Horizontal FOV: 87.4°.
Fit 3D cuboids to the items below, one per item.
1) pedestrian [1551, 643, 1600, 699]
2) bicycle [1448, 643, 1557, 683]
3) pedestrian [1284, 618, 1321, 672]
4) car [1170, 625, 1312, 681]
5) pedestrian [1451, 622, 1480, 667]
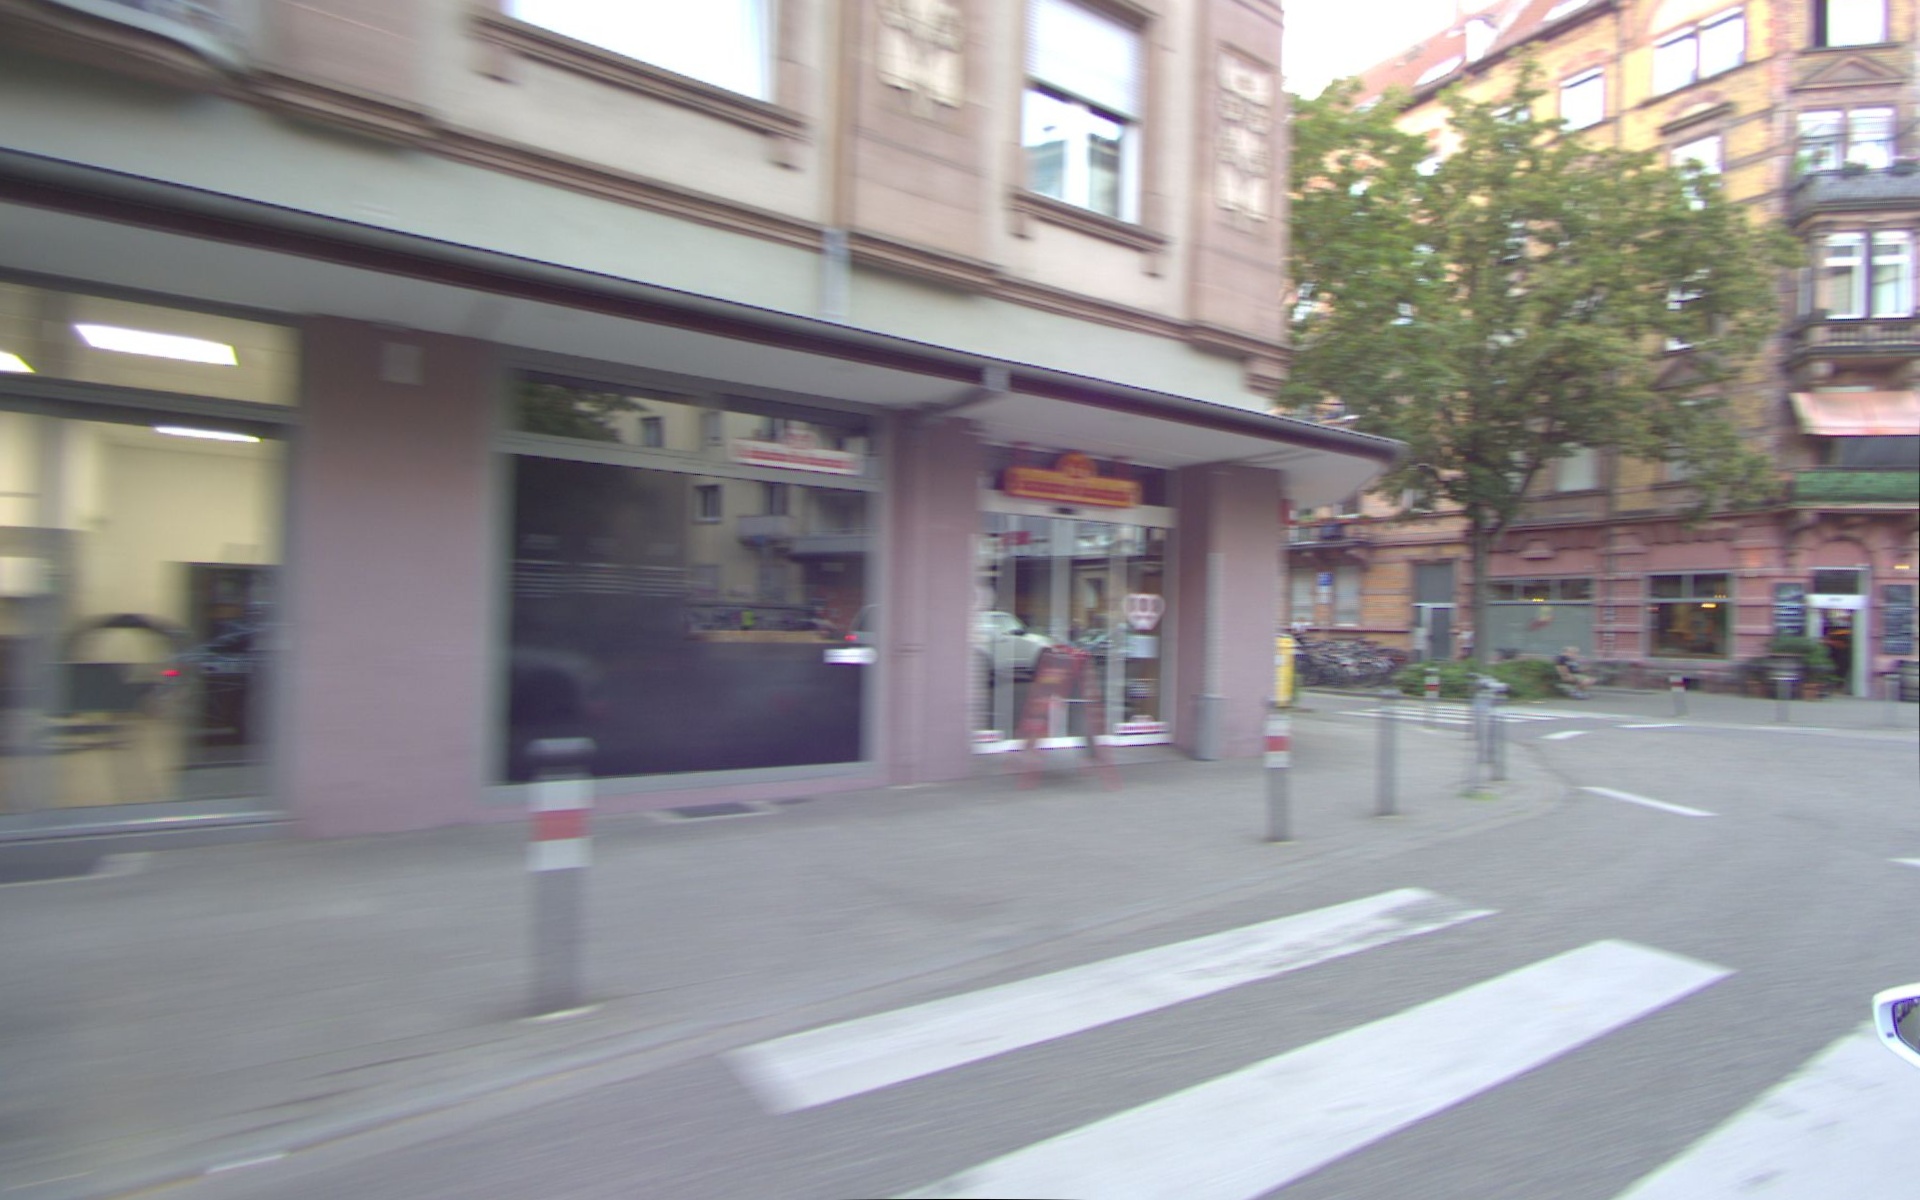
[{"bbox_3d":[14.733,1.689,24.043,0.661,1.279,0.749,2,0,-34],"label":"pedestrian"},{"bbox_3d":[16.018,1.849,29.751,0.619,0.971,2.878,2,0,-34],"label":"bicycle"},{"bbox_3d":[11.496,1.514,33.747,0.662,1.748,0.912,2,0,-37],"label":"pedestrian"},{"bbox_3d":[9.029,1.707,32.146,4.452,1.599,1.981,3,0,-35],"label":"car"},{"bbox_3d":[14.890,1.316,29.573,0.565,1.279,0.456,2,0,-9],"label":"pedestrian"}]
